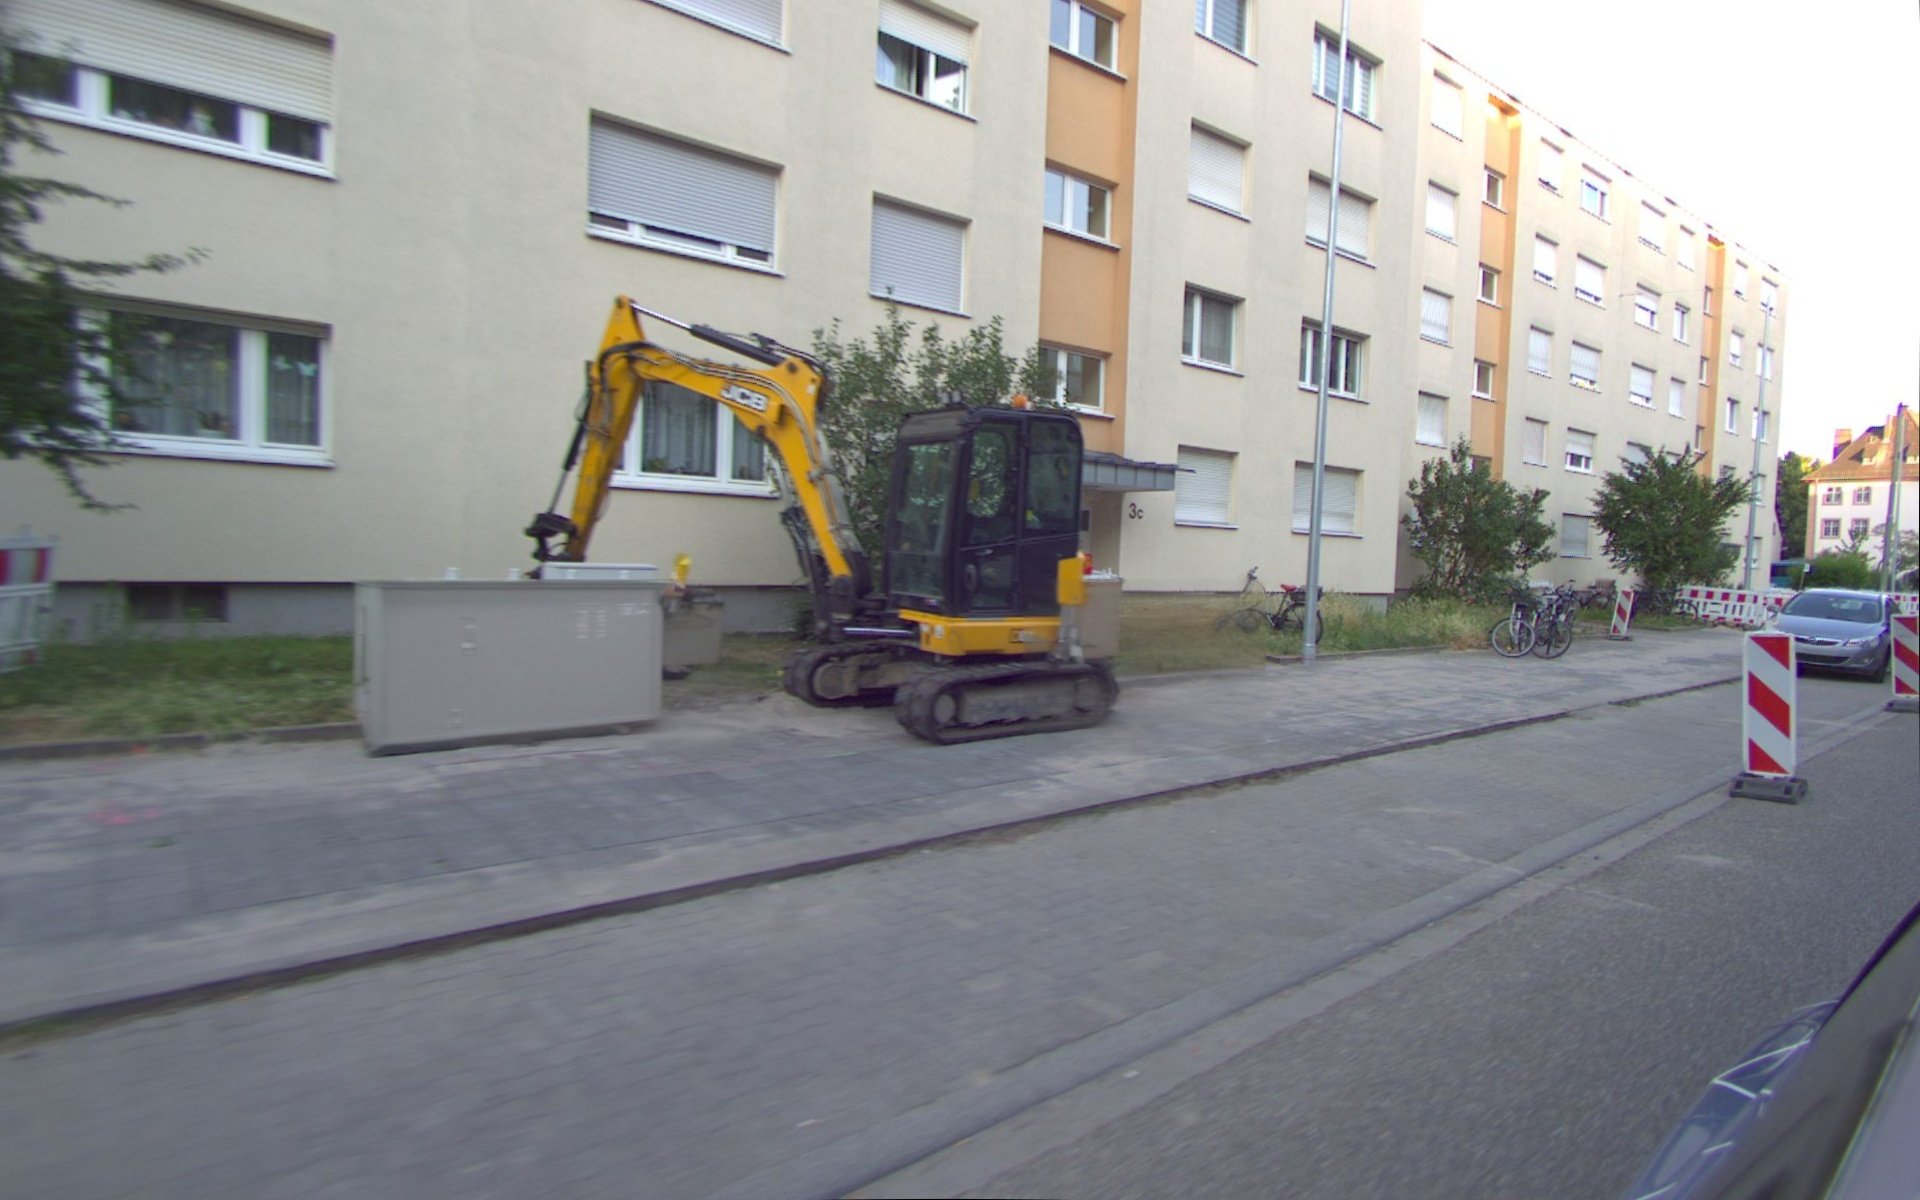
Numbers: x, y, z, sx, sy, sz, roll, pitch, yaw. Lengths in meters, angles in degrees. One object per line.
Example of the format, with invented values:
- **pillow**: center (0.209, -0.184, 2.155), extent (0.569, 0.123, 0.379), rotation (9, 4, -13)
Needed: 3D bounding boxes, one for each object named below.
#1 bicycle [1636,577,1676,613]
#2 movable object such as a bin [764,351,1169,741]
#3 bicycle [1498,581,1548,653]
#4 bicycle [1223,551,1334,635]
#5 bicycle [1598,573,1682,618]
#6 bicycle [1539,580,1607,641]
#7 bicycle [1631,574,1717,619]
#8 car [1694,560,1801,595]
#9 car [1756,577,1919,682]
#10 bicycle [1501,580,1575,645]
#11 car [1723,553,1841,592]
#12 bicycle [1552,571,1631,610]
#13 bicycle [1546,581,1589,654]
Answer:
- **bicycle**: center (20.699, -0.169, 30.122), extent (0.551, 0.874, 1.604), rotation (6, 7, 21)
- **movable object such as a bin**: center (0.057, -0.425, 8.712), extent (2.837, 2.726, 1.940), rotation (0, 3, -36)
- **bicycle**: center (9.941, 0.269, 17.838), extent (0.623, 1.186, 1.795), rotation (2, 2, 33)
- **bicycle**: center (4.999, -0.135, 15.943), extent (1.593, 1.237, 0.477), rotation (3, 2, 44)
- **bicycle**: center (18.705, -0.138, 27.874), extent (0.547, 0.998, 1.763), rotation (0, 8, -31)
- **bicycle**: center (12.641, 0.201, 20.856), extent (1.783, 1.186, 0.557), rotation (0, 2, -38)
- **bicycle**: center (20.232, -0.111, 28.702), extent (0.548, 1.034, 1.818), rotation (-1, 8, -39)
- **car**: center (45.521, -1.338, 58.555), extent (1.968, 1.832, 4.493), rotation (0, 4, -38)
- **car**: center (16.183, 0.439, 18.298), extent (4.492, 1.508, 1.782), rotation (-1, 7, -40)
- **bicycle**: center (11.150, 0.231, 19.503), extent (1.783, 1.186, 0.557), rotation (0, 2, -38)
- **car**: center (49.657, -1.695, 61.215), extent (2.245, 2.155, 5.042), rotation (0, 3, -32)
- **bicycle**: center (18.463, -0.290, 29.631), extent (1.787, 0.931, 0.557), rotation (5, 6, 9)
- **bicycle**: center (10.646, 0.276, 17.760), extent (0.553, 1.186, 1.798), rotation (2, 2, 30)
